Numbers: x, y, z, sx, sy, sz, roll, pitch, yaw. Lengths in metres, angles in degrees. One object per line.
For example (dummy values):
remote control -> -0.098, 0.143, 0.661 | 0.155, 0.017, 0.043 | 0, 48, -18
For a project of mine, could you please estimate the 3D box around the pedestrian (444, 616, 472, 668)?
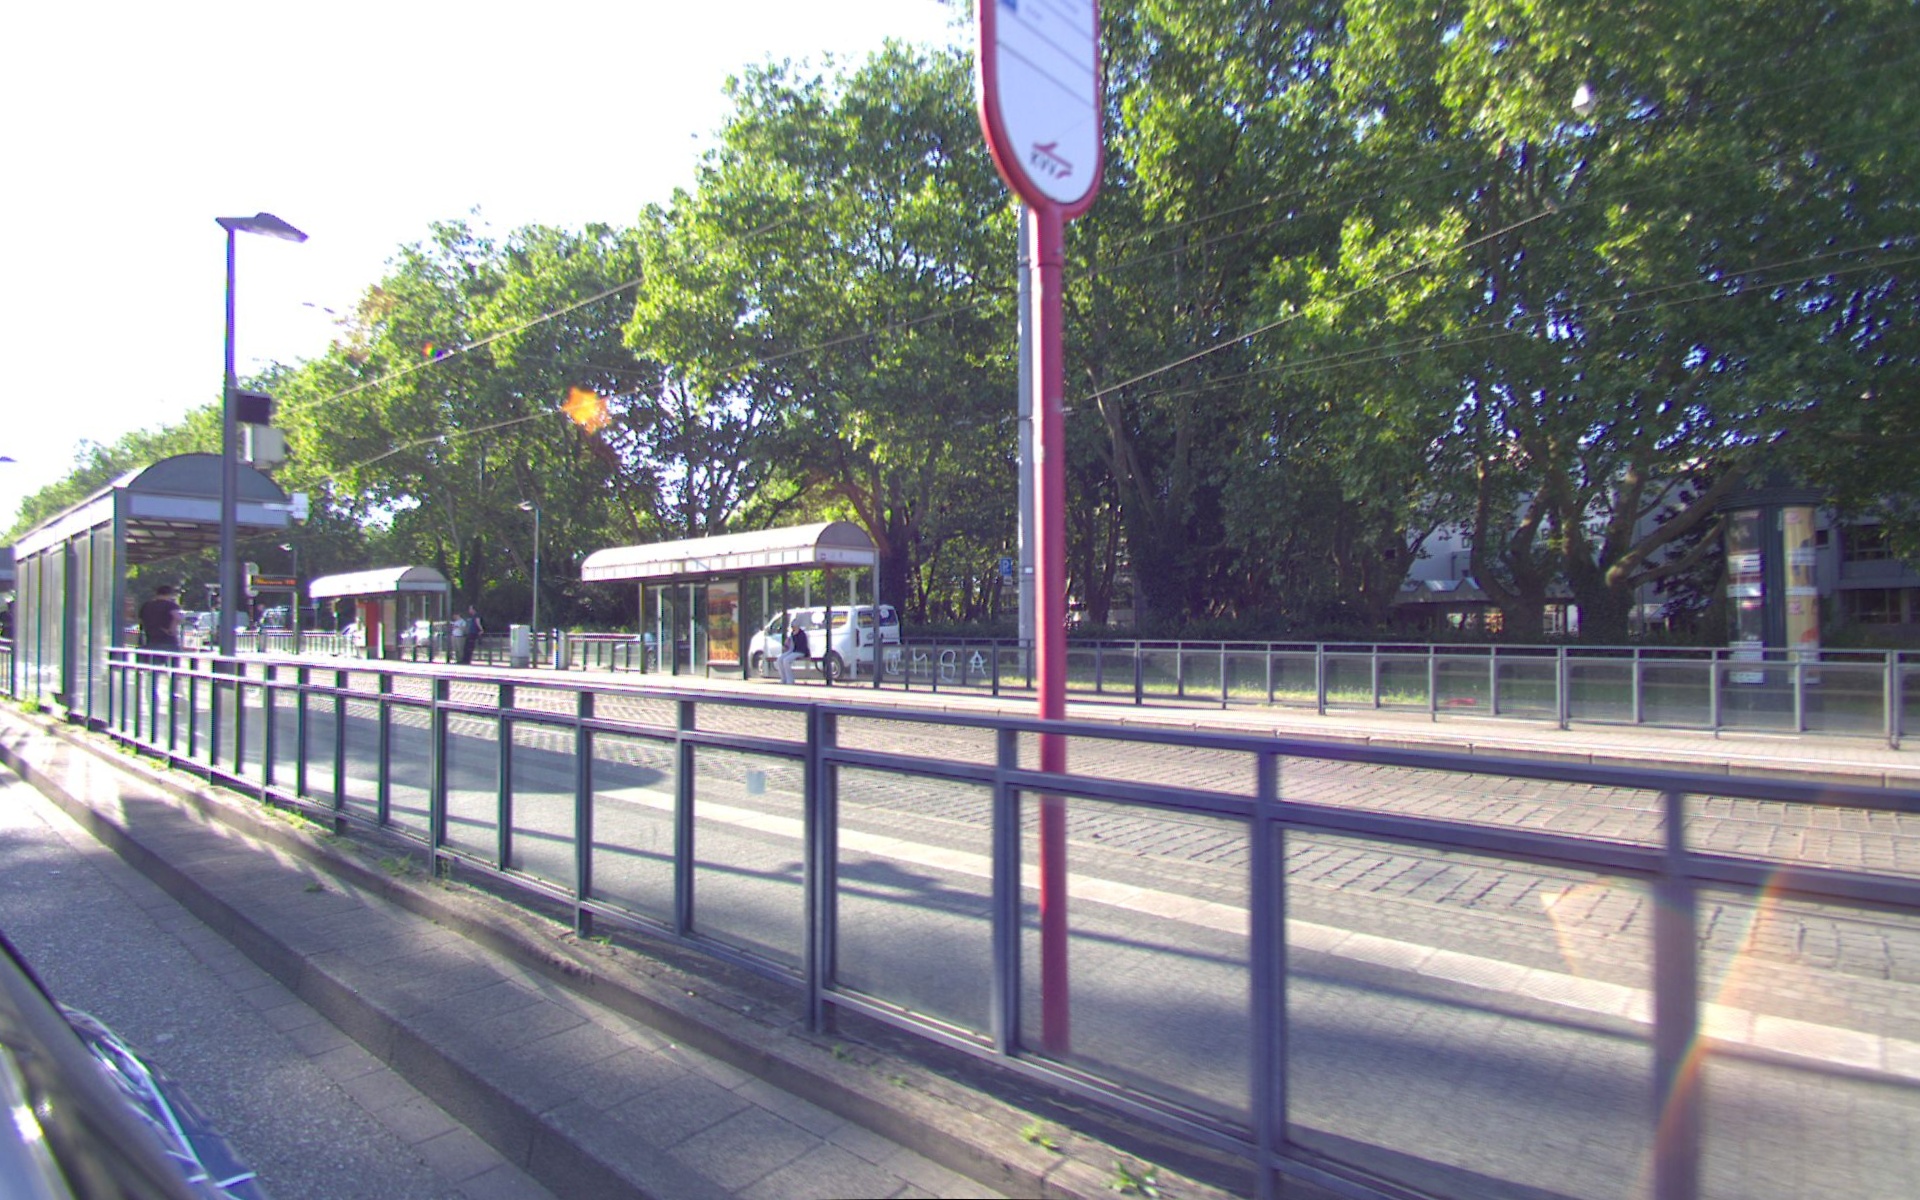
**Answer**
pedestrian -> -15.541, 1.290, 31.335 | 0.626, 1.555, 0.586 | -1, 0, 42

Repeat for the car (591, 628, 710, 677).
car -> -10.652, 1.769, 34.669 | 4.337, 1.522, 1.776 | -1, -3, 40

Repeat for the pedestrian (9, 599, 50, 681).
pedestrian -> -21.461, 0.906, 23.348 | 0.643, 1.855, 0.712 | -1, -1, -39

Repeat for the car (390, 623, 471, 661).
car -> -24.866, 1.969, 47.468 | 3.968, 1.664, 1.884 | -1, -3, 38

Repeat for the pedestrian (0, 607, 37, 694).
pedestrian -> -19.369, 1.010, 20.534 | 0.701, 1.735, 0.652 | -1, 0, 6

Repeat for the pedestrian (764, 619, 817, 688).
pedestrian -> -3.373, 1.066, 20.099 | 0.756, 1.335, 0.663 | -1, -5, 39

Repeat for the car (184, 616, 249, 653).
car -> -54.245, 2.510, 73.787 | 6.263, 2.540, 2.162 | -1, -3, 38

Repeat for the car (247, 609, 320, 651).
car -> -42.868, 1.886, 64.077 | 6.027, 2.540, 2.161 | -1, -3, 40

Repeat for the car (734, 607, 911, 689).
car -> -3.961, 1.310, 28.690 | 5.085, 2.140, 2.046 | -1, -3, 40

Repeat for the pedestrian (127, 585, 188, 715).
pedestrian -> -10.775, 0.652, 13.580 | 0.588, 1.690, 0.590 | 0, -1, -44

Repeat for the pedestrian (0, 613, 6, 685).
pedestrian -> -22.408, 1.133, 22.922 | 0.789, 1.646, 0.869 | -2, 0, -11

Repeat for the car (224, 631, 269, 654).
car -> -49.130, 2.901, 69.657 | 3.262, 1.524, 1.636 | -1, -3, 38

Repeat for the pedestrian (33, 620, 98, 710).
pedestrian -> -13.623, 0.964, 15.413 | 0.593, 1.319, 0.671 | -1, -1, 42

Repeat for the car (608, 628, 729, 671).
car -> -9.753, 1.625, 33.707 | 4.311, 1.302, 1.752 | -1, -3, 40

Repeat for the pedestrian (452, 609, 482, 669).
pedestrian -> -15.001, 1.170, 30.798 | 0.650, 1.785, 0.641 | -1, 0, 44

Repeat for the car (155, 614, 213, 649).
car -> -60.474, 2.427, 78.807 | 6.044, 2.540, 2.161 | -1, -3, 40

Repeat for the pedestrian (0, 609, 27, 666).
pedestrian -> -26.669, 1.041, 28.446 | 0.650, 1.579, 0.582 | -1, -1, 42
